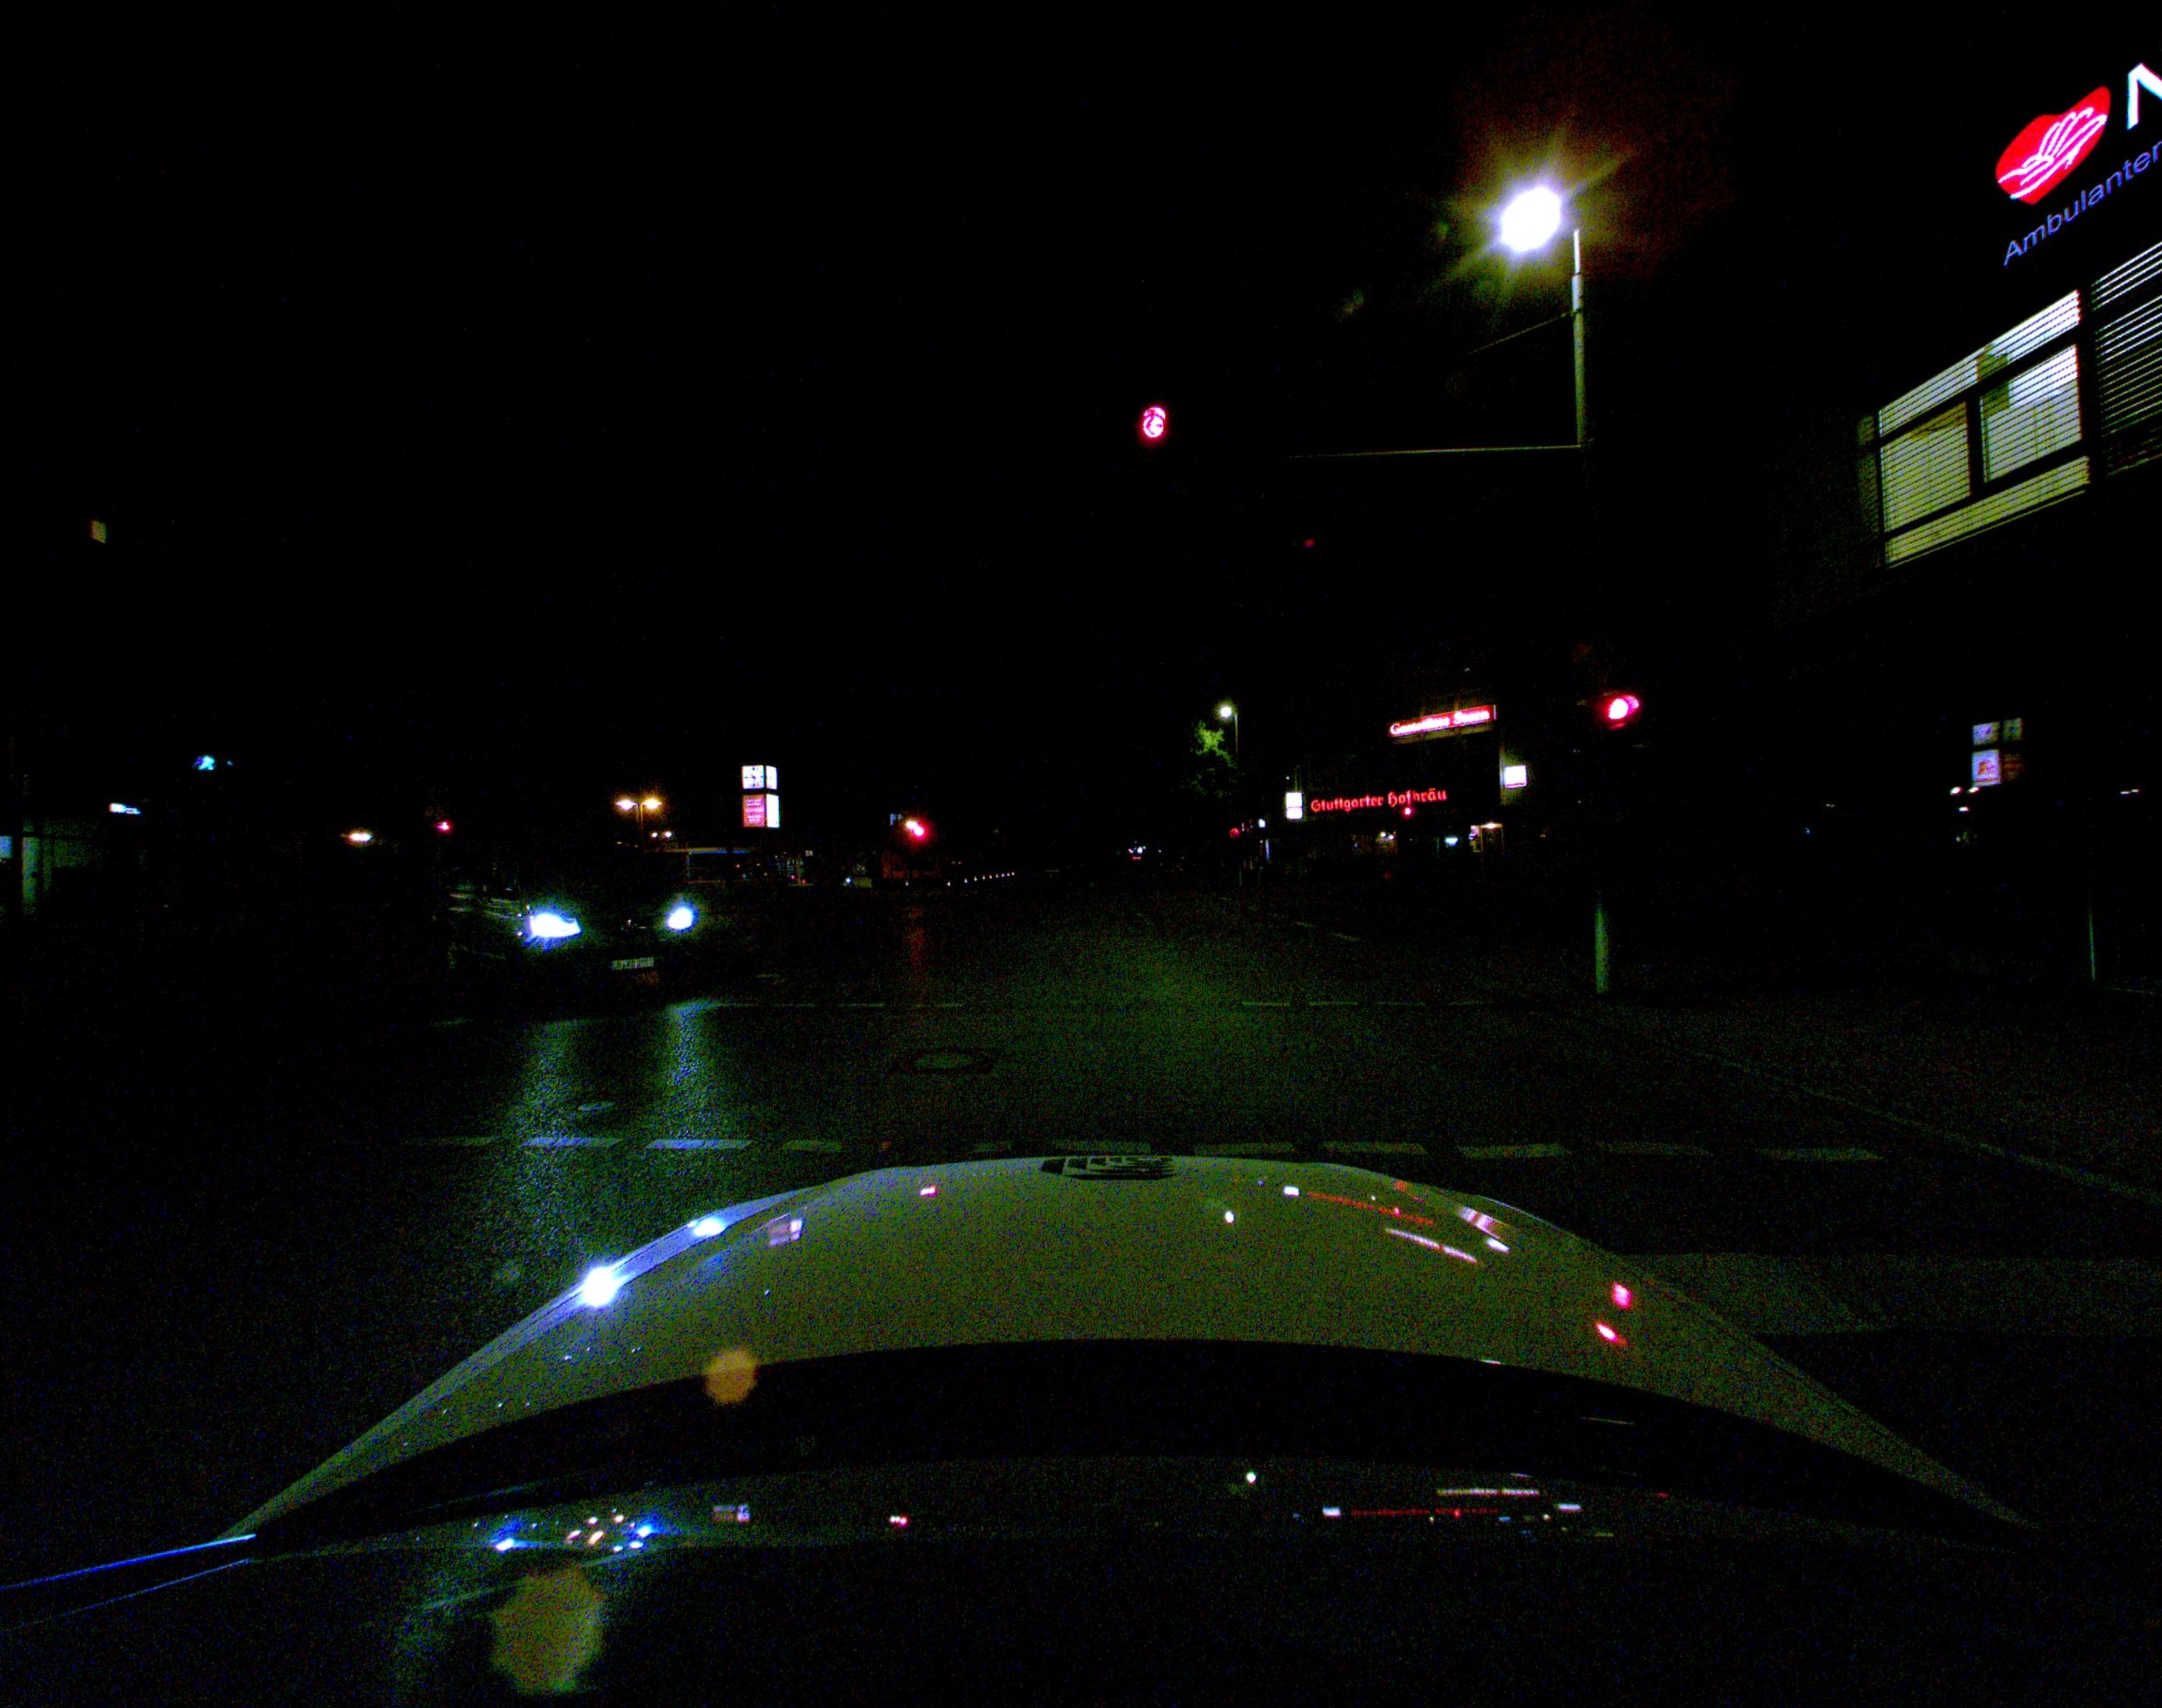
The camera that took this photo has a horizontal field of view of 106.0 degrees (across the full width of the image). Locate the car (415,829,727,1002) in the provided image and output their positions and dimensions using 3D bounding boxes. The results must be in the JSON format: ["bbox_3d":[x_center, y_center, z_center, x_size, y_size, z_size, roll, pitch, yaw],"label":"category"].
[{"bbox_3d":[-7.096,0.726,11.111,4.848,1.871,1.986,-2,-1,37],"label":"car"}]

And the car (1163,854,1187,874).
[{"bbox_3d":[7.885,0.827,68.777,1.868,1.615,4.005,-2,-1,5],"label":"car"}]

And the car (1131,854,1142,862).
[{"bbox_3d":[11.580,0.889,168.607,2.217,1.651,4.004,-1,0,4],"label":"car"}]

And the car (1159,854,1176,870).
[{"bbox_3d":[10.043,0.935,94.494,1.868,1.683,4.005,-2,-1,5],"label":"car"}]

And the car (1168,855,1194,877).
[{"bbox_3d":[7.779,0.929,63.721,1.868,1.615,4.005,-2,-1,5],"label":"car"}]

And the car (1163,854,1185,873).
[{"bbox_3d":[8.680,0.873,76.434,1.868,1.729,4.005,-2,-1,5],"label":"car"}]
